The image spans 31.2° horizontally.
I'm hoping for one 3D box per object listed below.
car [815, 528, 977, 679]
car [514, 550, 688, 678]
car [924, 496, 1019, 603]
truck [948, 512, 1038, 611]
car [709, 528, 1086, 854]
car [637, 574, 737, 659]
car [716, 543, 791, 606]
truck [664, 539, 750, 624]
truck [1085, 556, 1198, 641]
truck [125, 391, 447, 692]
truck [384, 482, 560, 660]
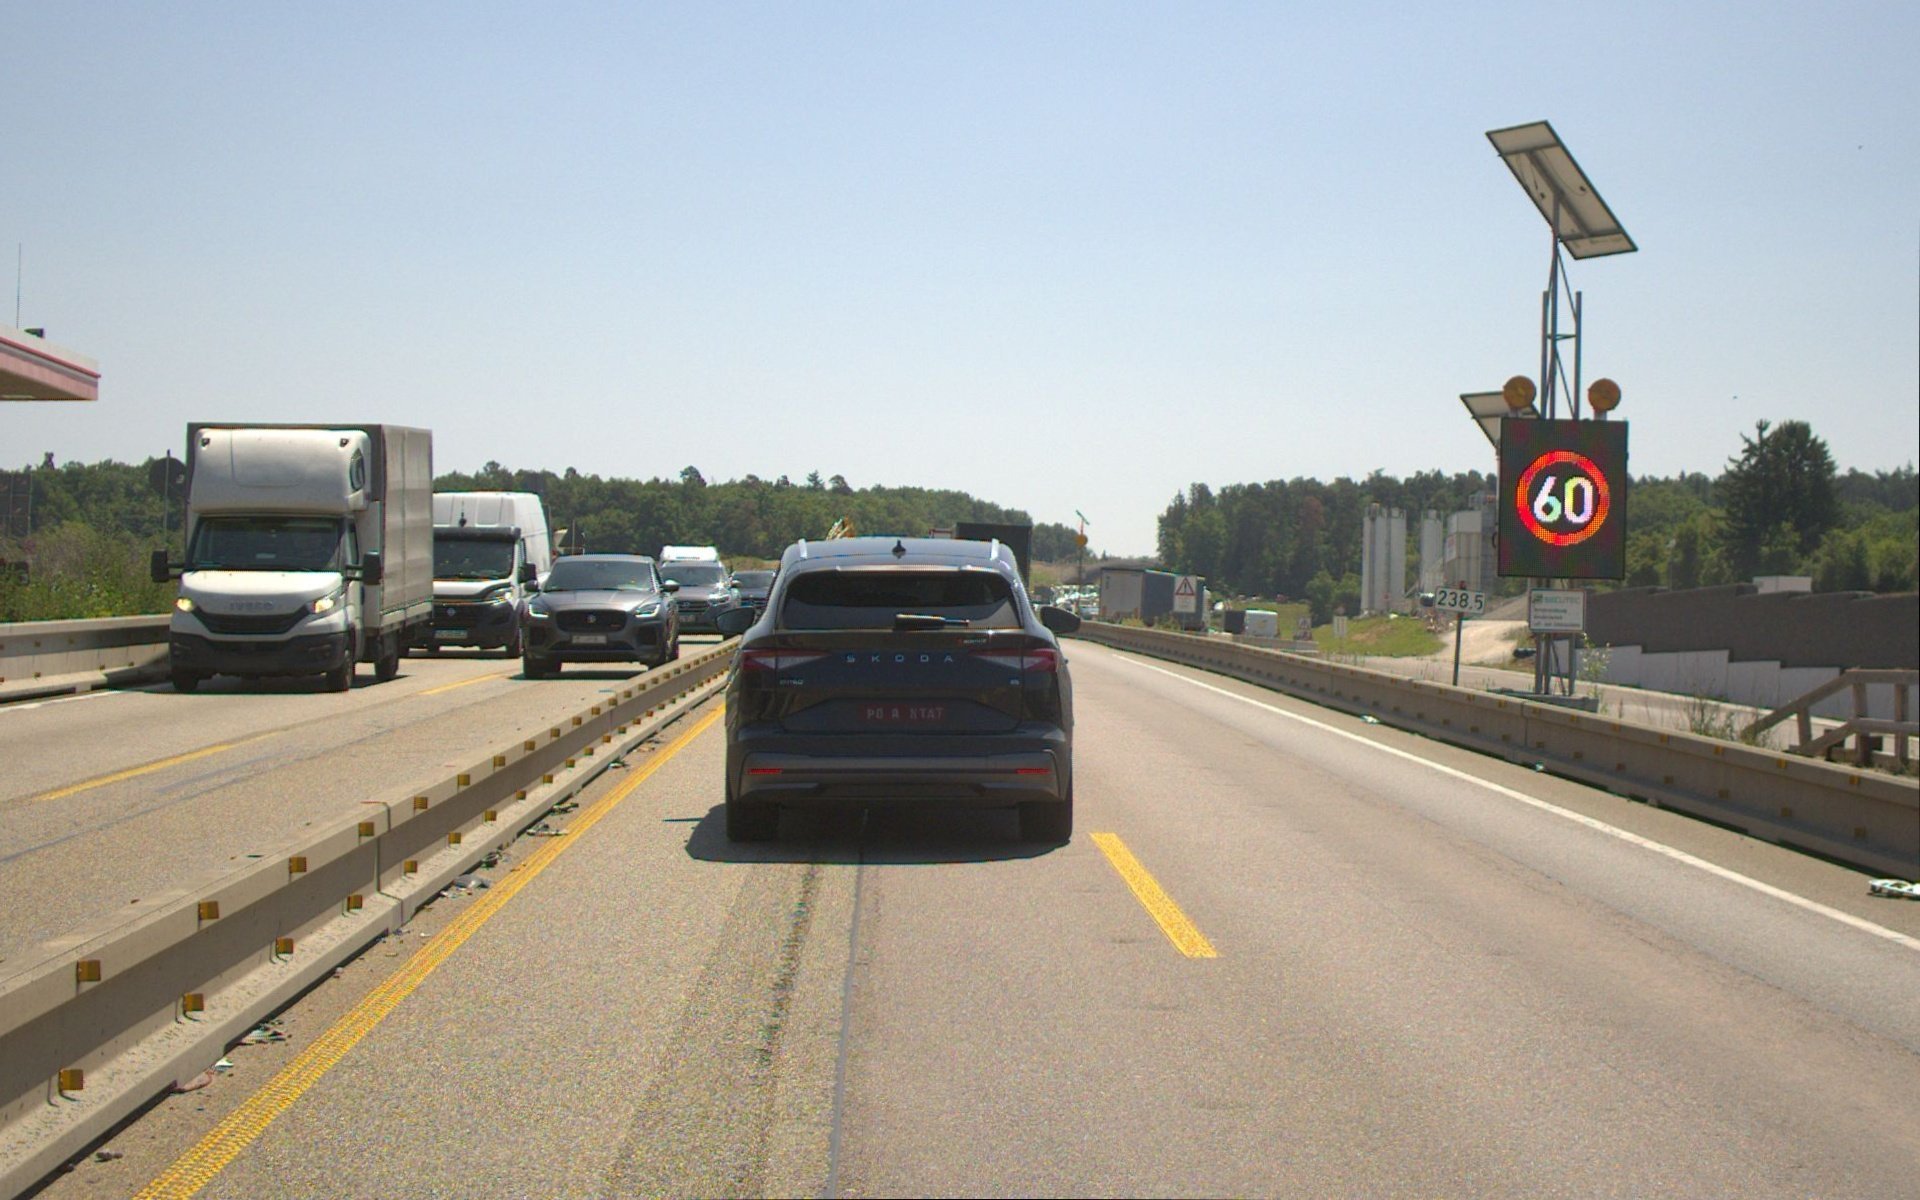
[{"bbox_3d":[-0.896,0.045,45.946,1.993,1.838,4.000,3,0,-2],"label":"car"},{"bbox_3d":[-4.807,0.146,46.629,1.942,1.653,4.745,0,1,-1],"label":"car"},{"bbox_3d":[0.560,-2.090,146.569,3.437,4.087,9.196,5,0,2],"label":"car"},{"bbox_3d":[0.989,-1.199,106.606,2.673,2.935,5.620,1,1,0],"label":"truck"},{"bbox_3d":[-0.320,0.420,19.141,1.842,1.576,4.000,1,1,0],"label":"car"},{"bbox_3d":[-5.537,0.314,69.824,1.938,1.605,4.001,1,1,-4],"label":"car"},{"bbox_3d":[-5.634,-0.715,94.104,1.845,1.635,4.000,1,1,-1],"label":"car"},{"bbox_3d":[-8.880,-0.710,121.313,2.480,2.814,8.130,1,1,-1],"label":"truck"},{"bbox_3d":[10.560,-0.039,198.497,3.479,4.206,10.366,7,0,18],"label":"truck"},{"bbox_3d":[-8.105,-0.720,42.319,2.495,3.280,8.118,1,1,-1],"label":"truck"},{"bbox_3d":[-8.081,-0.502,57.512,2.239,2.777,6.493,1,1,-2],"label":"truck"}]
